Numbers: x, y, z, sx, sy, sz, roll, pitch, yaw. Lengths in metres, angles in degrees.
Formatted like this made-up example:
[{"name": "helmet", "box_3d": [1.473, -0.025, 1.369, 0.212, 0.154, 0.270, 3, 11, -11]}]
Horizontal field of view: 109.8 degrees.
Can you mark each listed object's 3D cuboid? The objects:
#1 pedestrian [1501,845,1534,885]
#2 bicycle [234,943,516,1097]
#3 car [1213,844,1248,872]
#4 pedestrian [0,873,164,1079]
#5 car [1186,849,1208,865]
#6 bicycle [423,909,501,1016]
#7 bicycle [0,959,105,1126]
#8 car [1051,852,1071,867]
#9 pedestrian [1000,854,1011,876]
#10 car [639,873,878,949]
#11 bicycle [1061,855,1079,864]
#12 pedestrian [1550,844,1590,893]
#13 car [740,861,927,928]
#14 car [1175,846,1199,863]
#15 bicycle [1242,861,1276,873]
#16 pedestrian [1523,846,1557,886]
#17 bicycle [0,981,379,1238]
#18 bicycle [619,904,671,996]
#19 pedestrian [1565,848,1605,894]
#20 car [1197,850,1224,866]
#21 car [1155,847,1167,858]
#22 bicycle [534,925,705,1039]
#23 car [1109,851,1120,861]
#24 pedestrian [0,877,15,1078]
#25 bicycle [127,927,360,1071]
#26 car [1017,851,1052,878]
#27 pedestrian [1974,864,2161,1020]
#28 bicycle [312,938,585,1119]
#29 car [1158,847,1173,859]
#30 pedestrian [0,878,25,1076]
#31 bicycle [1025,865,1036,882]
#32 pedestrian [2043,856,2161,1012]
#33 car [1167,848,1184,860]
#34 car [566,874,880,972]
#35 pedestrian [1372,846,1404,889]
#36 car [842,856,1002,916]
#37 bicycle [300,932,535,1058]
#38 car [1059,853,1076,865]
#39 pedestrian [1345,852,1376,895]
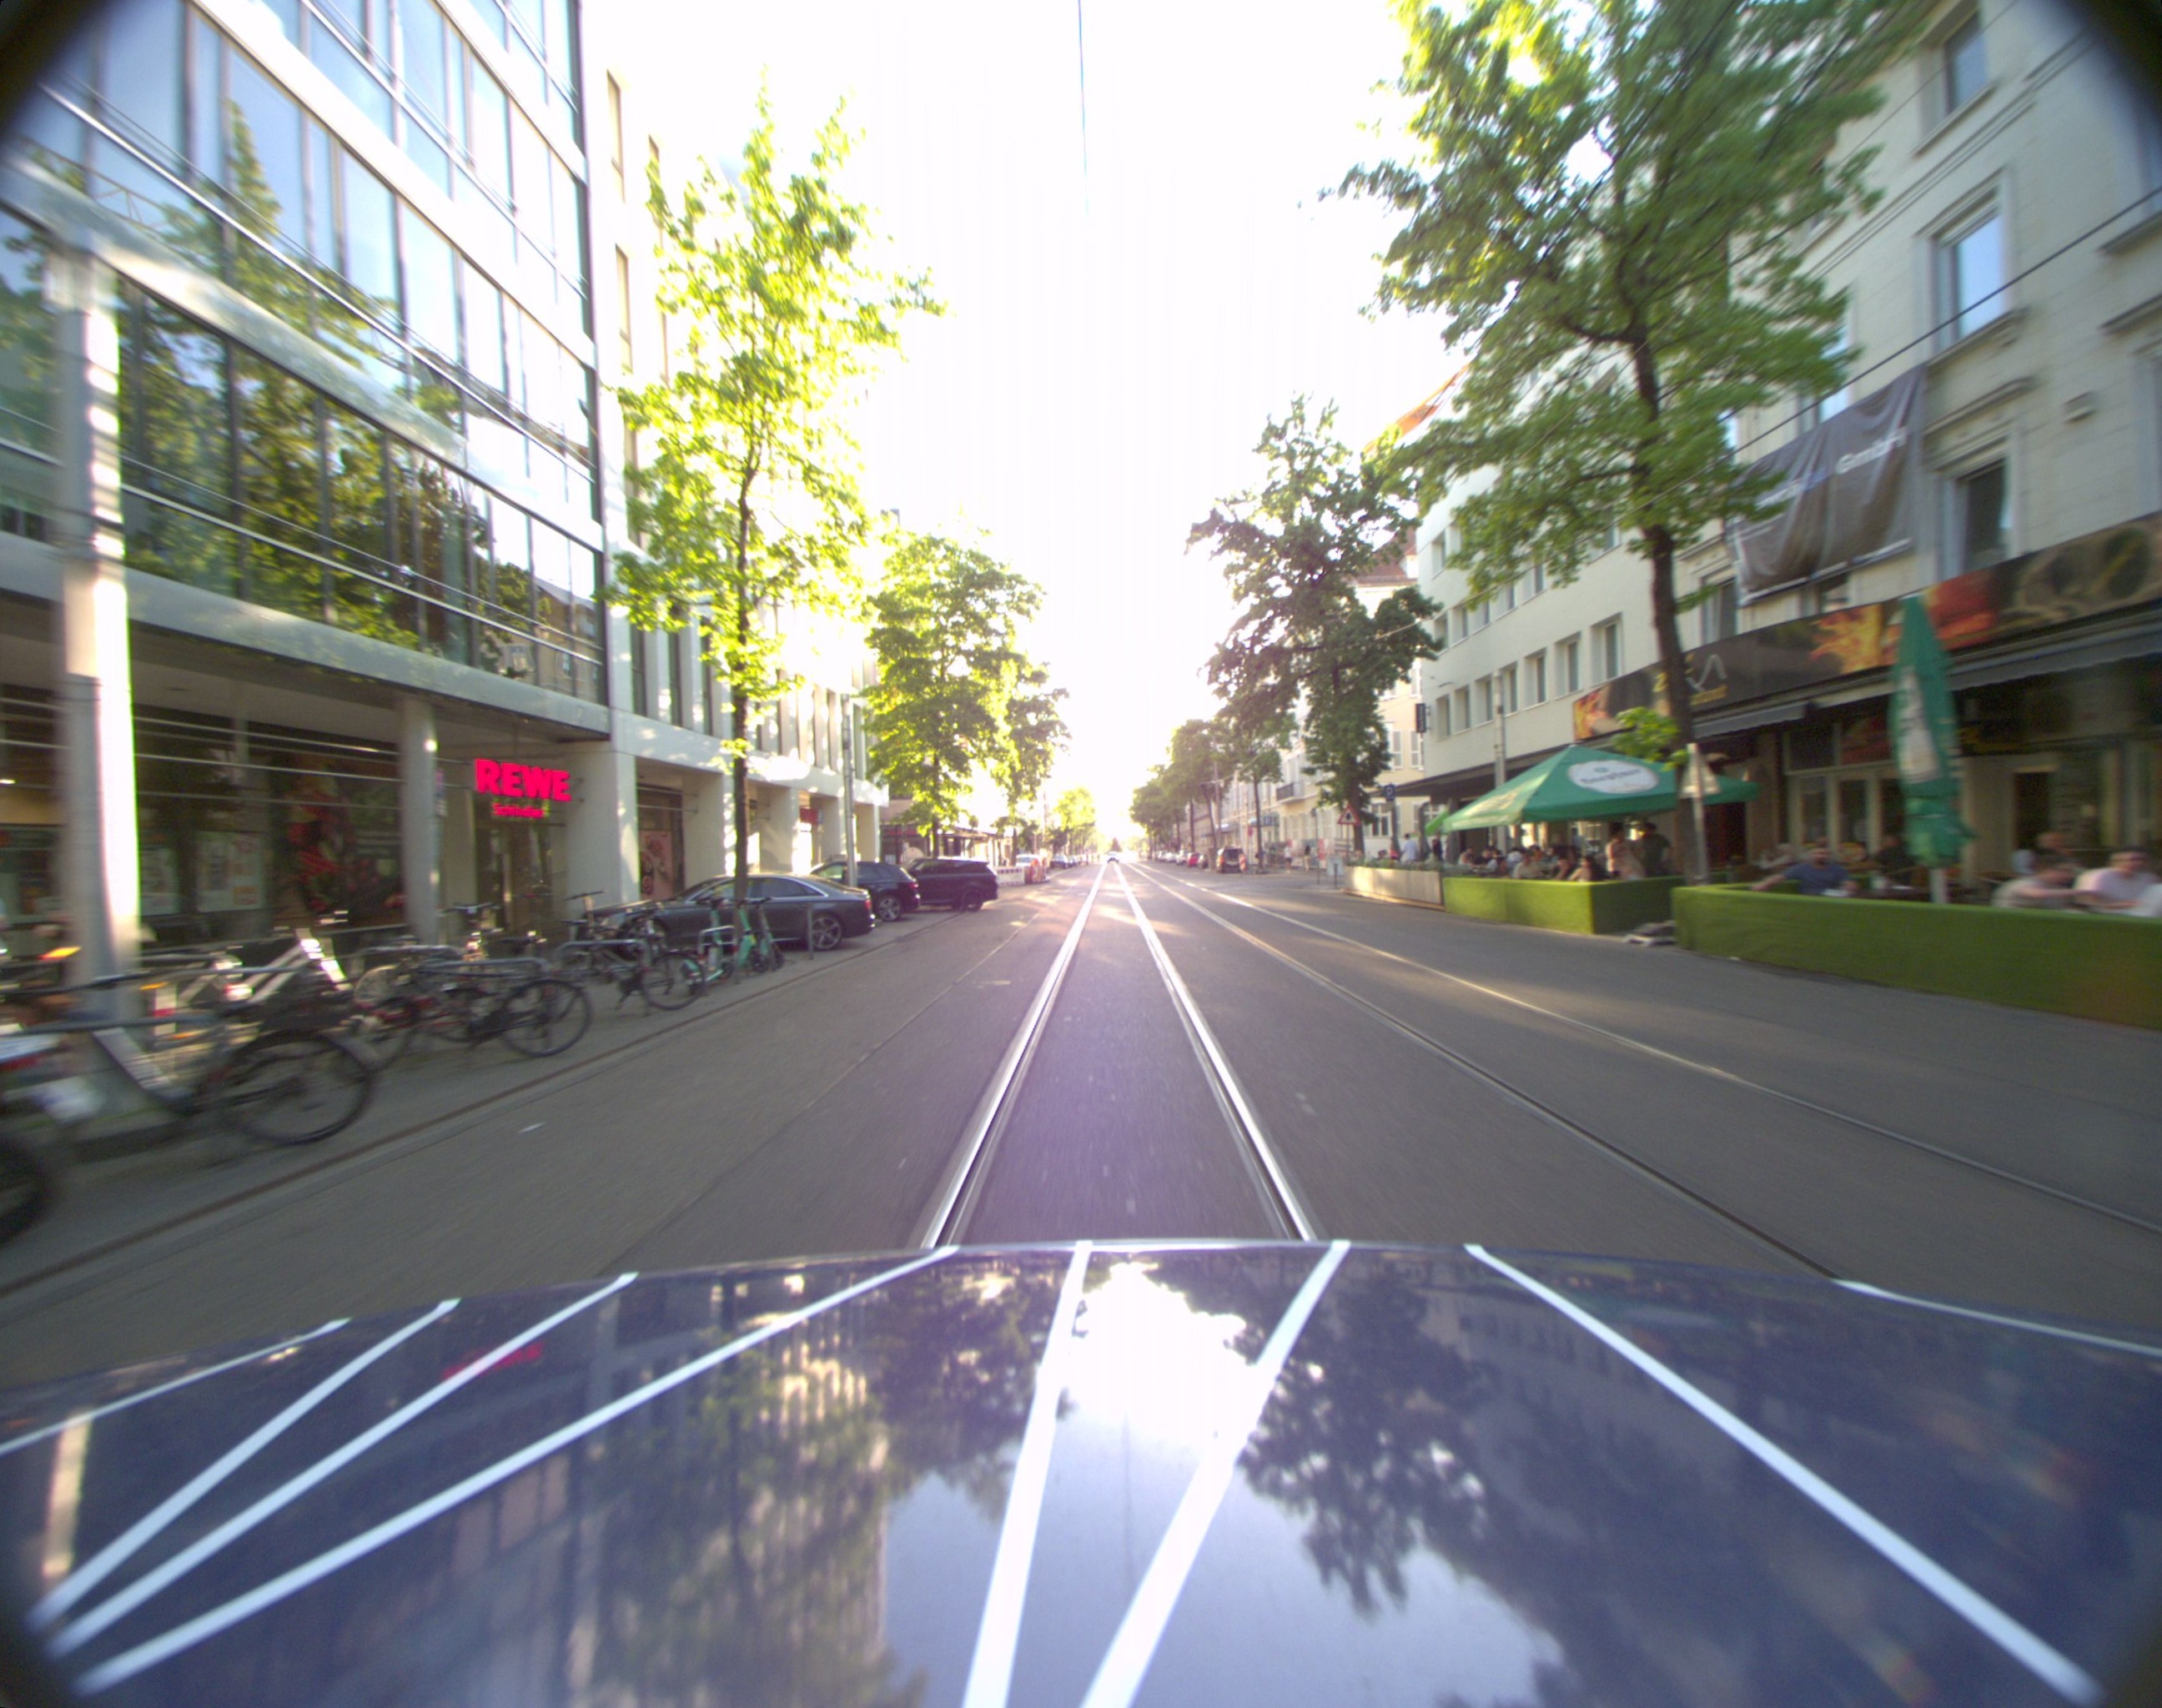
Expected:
[{"name": "pedestrian", "box_3d": [13.178, 0.323, 22.963, 0.553, 1.155, 0.687, -4, 1, 3]}, {"name": "bicycle", "box_3d": [-6.086, 1.398, 6.679, 1.697, 1.099, 0.631, 1, 1, -24]}, {"name": "car", "box_3d": [10.784, 0.245, 54.982, 1.862, 1.821, 4.560, -3, 0, 4]}, {"name": "pedestrian", "box_3d": [-8.784, 1.026, 6.672, 0.681, 1.686, 0.549, -2, 1, -10]}, {"name": "car", "box_3d": [11.784, 0.276, 77.468, 1.664, 1.397, 4.141, -5, 0, 3]}, {"name": "bicycle", "box_3d": [-8.084, 1.364, 9.988, 0.628, 1.124, 1.883, 0, 0, -34]}, {"name": "bicycle", "box_3d": [-8.485, 1.376, 5.420, 1.780, 1.099, 0.631, 1, 1, -23]}, {"name": "car", "box_3d": [-2.322, 0.654, 88.841, 1.985, 1.679, 4.874, 1, 0, 2]}, {"name": "pedestrian", "box_3d": [-6.271, 0.911, 63.117, 0.689, 1.820, 0.635, -2, 1, 2]}, {"name": "car", "box_3d": [-6.999, 1.189, 16.976, 4.671, 1.417, 1.931, 0, 1, -19]}, {"name": "bicycle", "box_3d": [-1.507, 0.720, 103.187, 2.325, 1.181, 0.751, -2, 1, 4]}, {"name": "pedestrian", "box_3d": [13.467, 0.383, 20.935, 0.603, 1.291, 0.687, -4, 1, 3]}, {"name": "car", "box_3d": [-6.771, 1.038, 20.901, 4.672, 1.645, 2.005, 0, 0, -21]}, {"name": "car", "box_3d": [12.127, 0.071, 86.900, 1.870, 1.679, 4.950, -5, 0, -1]}, {"name": "bicycle", "box_3d": [10.858, 0.815, 46.438, 1.799, 0.605, 1.282, -3, 0, 6]}, {"name": "pedestrian", "box_3d": [13.799, 0.347, 22.845, 0.553, 1.155, 0.687, -4, 1, 3]}, {"name": "bicycle", "box_3d": [-5.360, 1.401, 4.313, 1.899, 1.113, 0.666, 0, 1, -27]}, {"name": "bicycle", "box_3d": [-6.424, 1.357, 11.152, 0.553, 1.101, 1.845, 0, 0, -33]}, {"name": "pedestrian", "box_3d": [13.131, 0.441, 19.820, 0.553, 1.155, 0.687, -4, 1, 3]}, {"name": "car", "box_3d": [11.621, 0.374, 68.503, 1.722, 1.238, 4.508, -5, 0, 2]}, {"name": "car", "box_3d": [14.702, -0.282, 139.626, 1.931, 1.946, 4.766, -1, 0, 2]}, {"name": "bicycle", "box_3d": [-5.152, 1.390, 8.606, 1.566, 1.082, 0.867, 1, -1, -28]}, {"name": "car", "box_3d": [5.653, 0.252, 128.183, 1.827, 1.603, 3.796, -2, 0, 3]}, {"name": "pedestrian", "box_3d": [-9.633, 1.068, 6.394, 0.524, 1.740, 0.559, 0, 1, 4]}, {"name": "bicycle", "box_3d": [-7.967, 1.330, 7.326, 1.272, 1.166, 0.866, 1, -1, -28]}, {"name": "car", "box_3d": [-3.180, 0.699, 52.444, 2.028, 1.727, 4.907, 1, 0, 1]}, {"name": "pedestrian", "box_3d": [8.855, 0.742, 6.781, 0.658, 1.237, 0.873, -5, 1, 2]}, {"name": "bicycle", "box_3d": [-5.209, 1.364, 6.357, 0.480, 1.157, 1.698, 2, 1, 42]}, {"name": "car", "box_3d": [13.912, -0.135, 124.769, 1.952, 1.731, 4.766, -5, 0, 2]}, {"name": "pedestrian", "box_3d": [-9.537, 1.060, 6.375, 0.518, 1.686, 0.550, -2, 1, 7]}, {"name": "bicycle", "box_3d": [-3.180, 1.195, 47.691, 0.494, 0.976, 1.930, -2, 0, 0]}, {"name": "pedestrian", "box_3d": [9.551, 0.686, 6.849, 0.658, 1.286, 0.798, -5, 1, 2]}, {"name": "car", "box_3d": [13.085, 0.052, 105.363, 1.897, 1.458, 4.617, -5, 0, 3]}, {"name": "car", "box_3d": [-6.588, 1.157, 14.279, 5.070, 1.460, 1.972, 1, 1, -33]}, {"name": "pedestrian", "box_3d": [10.354, 0.453, 25.651, 0.691, 1.378, 0.807, -4, 1, 3]}, {"name": "car", "box_3d": [-5.116, 0.976, 24.489, 4.674, 1.753, 1.990, 0, 1, -27]}, {"name": "bicycle", "box_3d": [-6.702, 1.391, 7.805, 1.677, 1.068, 0.731, 1, -1, -28]}, {"name": "car", "box_3d": [-1.750, 0.615, 96.678, 1.871, 1.502, 4.242, 1, 0, -6]}, {"name": "pedestrian", "box_3d": [9.438, 0.639, 25.678, 0.691, 1.378, 0.807, -4, 1, 3]}]
